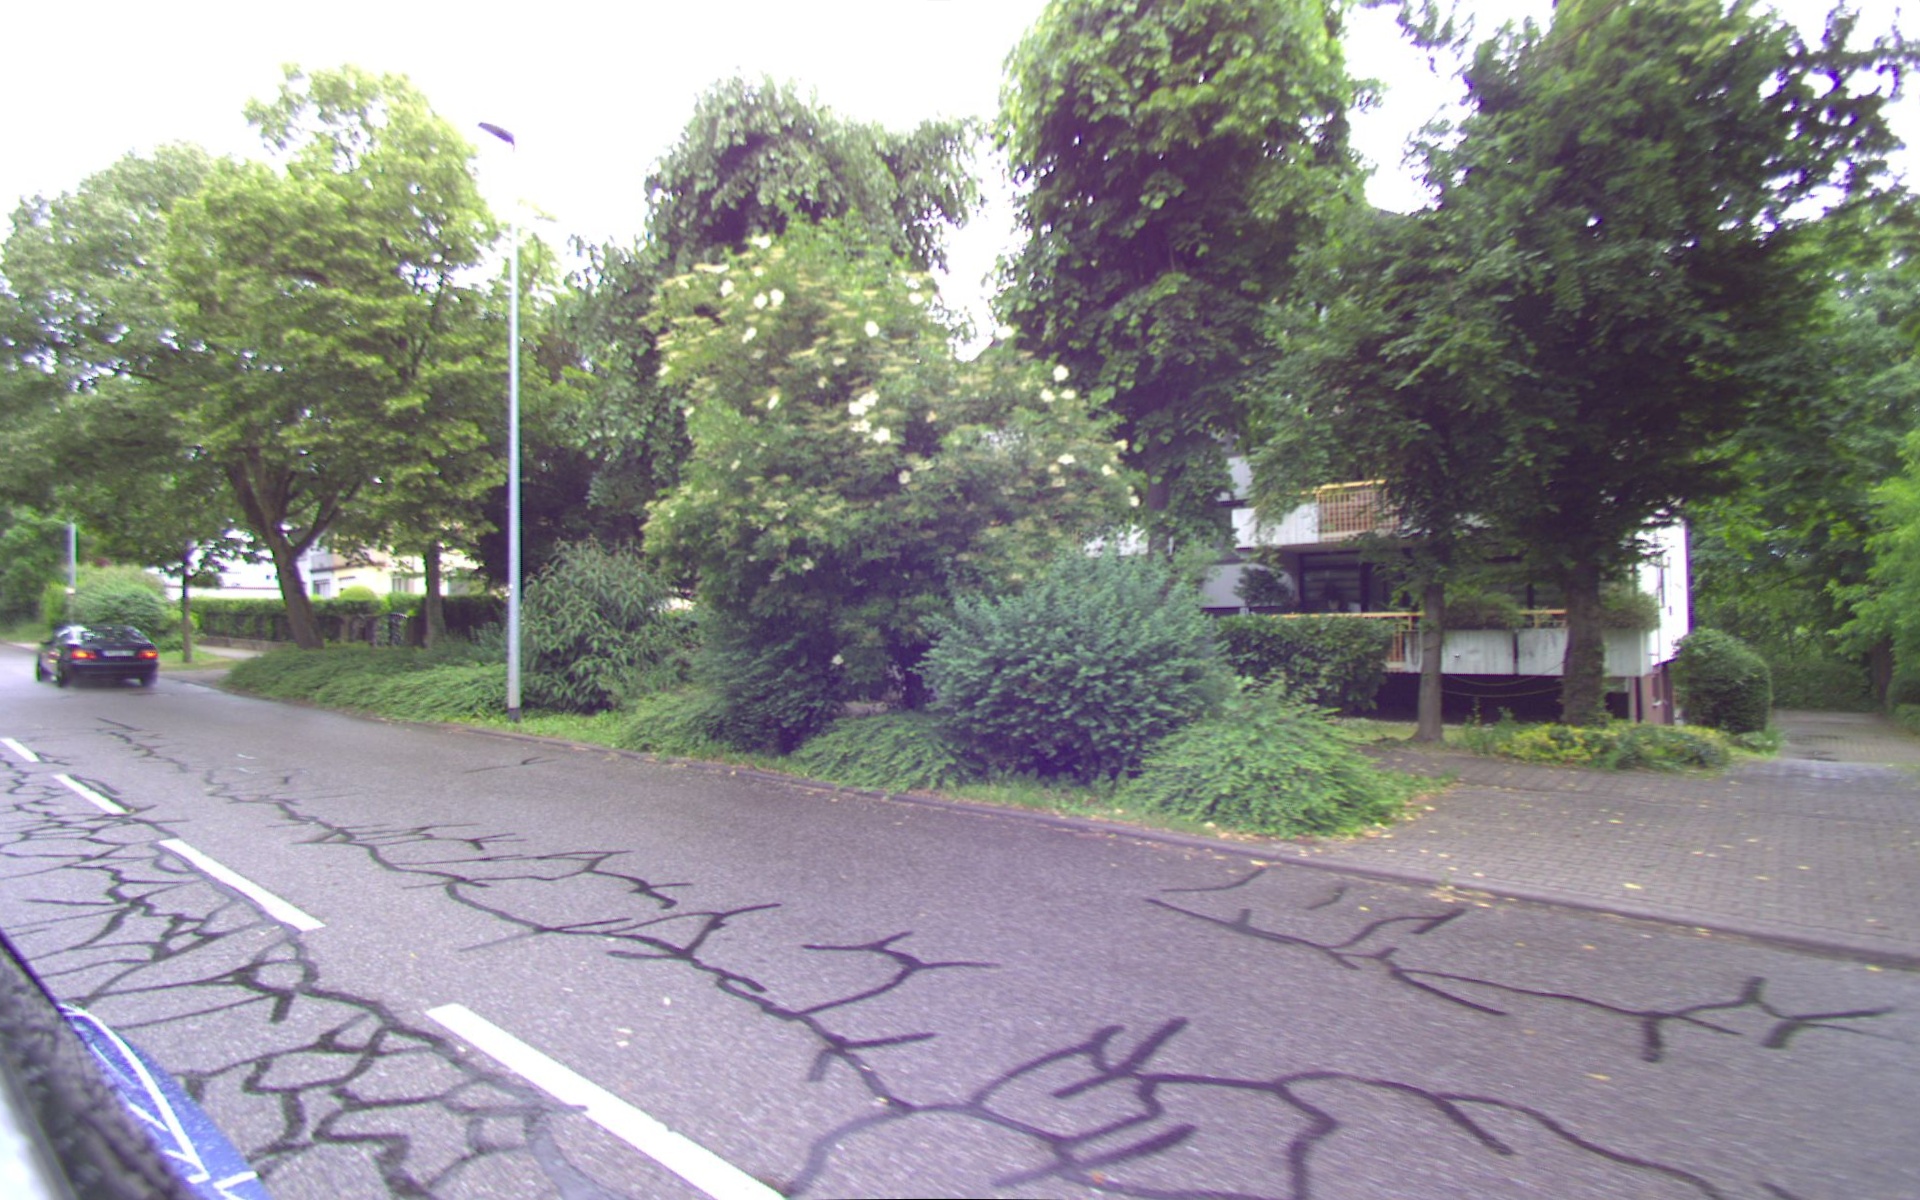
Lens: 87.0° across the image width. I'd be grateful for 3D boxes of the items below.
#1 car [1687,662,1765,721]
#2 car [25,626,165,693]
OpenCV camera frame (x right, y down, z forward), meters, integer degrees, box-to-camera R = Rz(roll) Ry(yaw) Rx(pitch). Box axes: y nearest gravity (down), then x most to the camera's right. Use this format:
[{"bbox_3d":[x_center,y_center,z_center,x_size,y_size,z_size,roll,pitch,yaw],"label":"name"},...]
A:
[{"bbox_3d":[27.804,3.275,36.846,1.819,1.730,3.958,-1,0,31],"label":"car"},{"bbox_3d":[-19.857,1.313,23.165,4.374,1.359,1.746,-1,-3,41],"label":"car"}]
